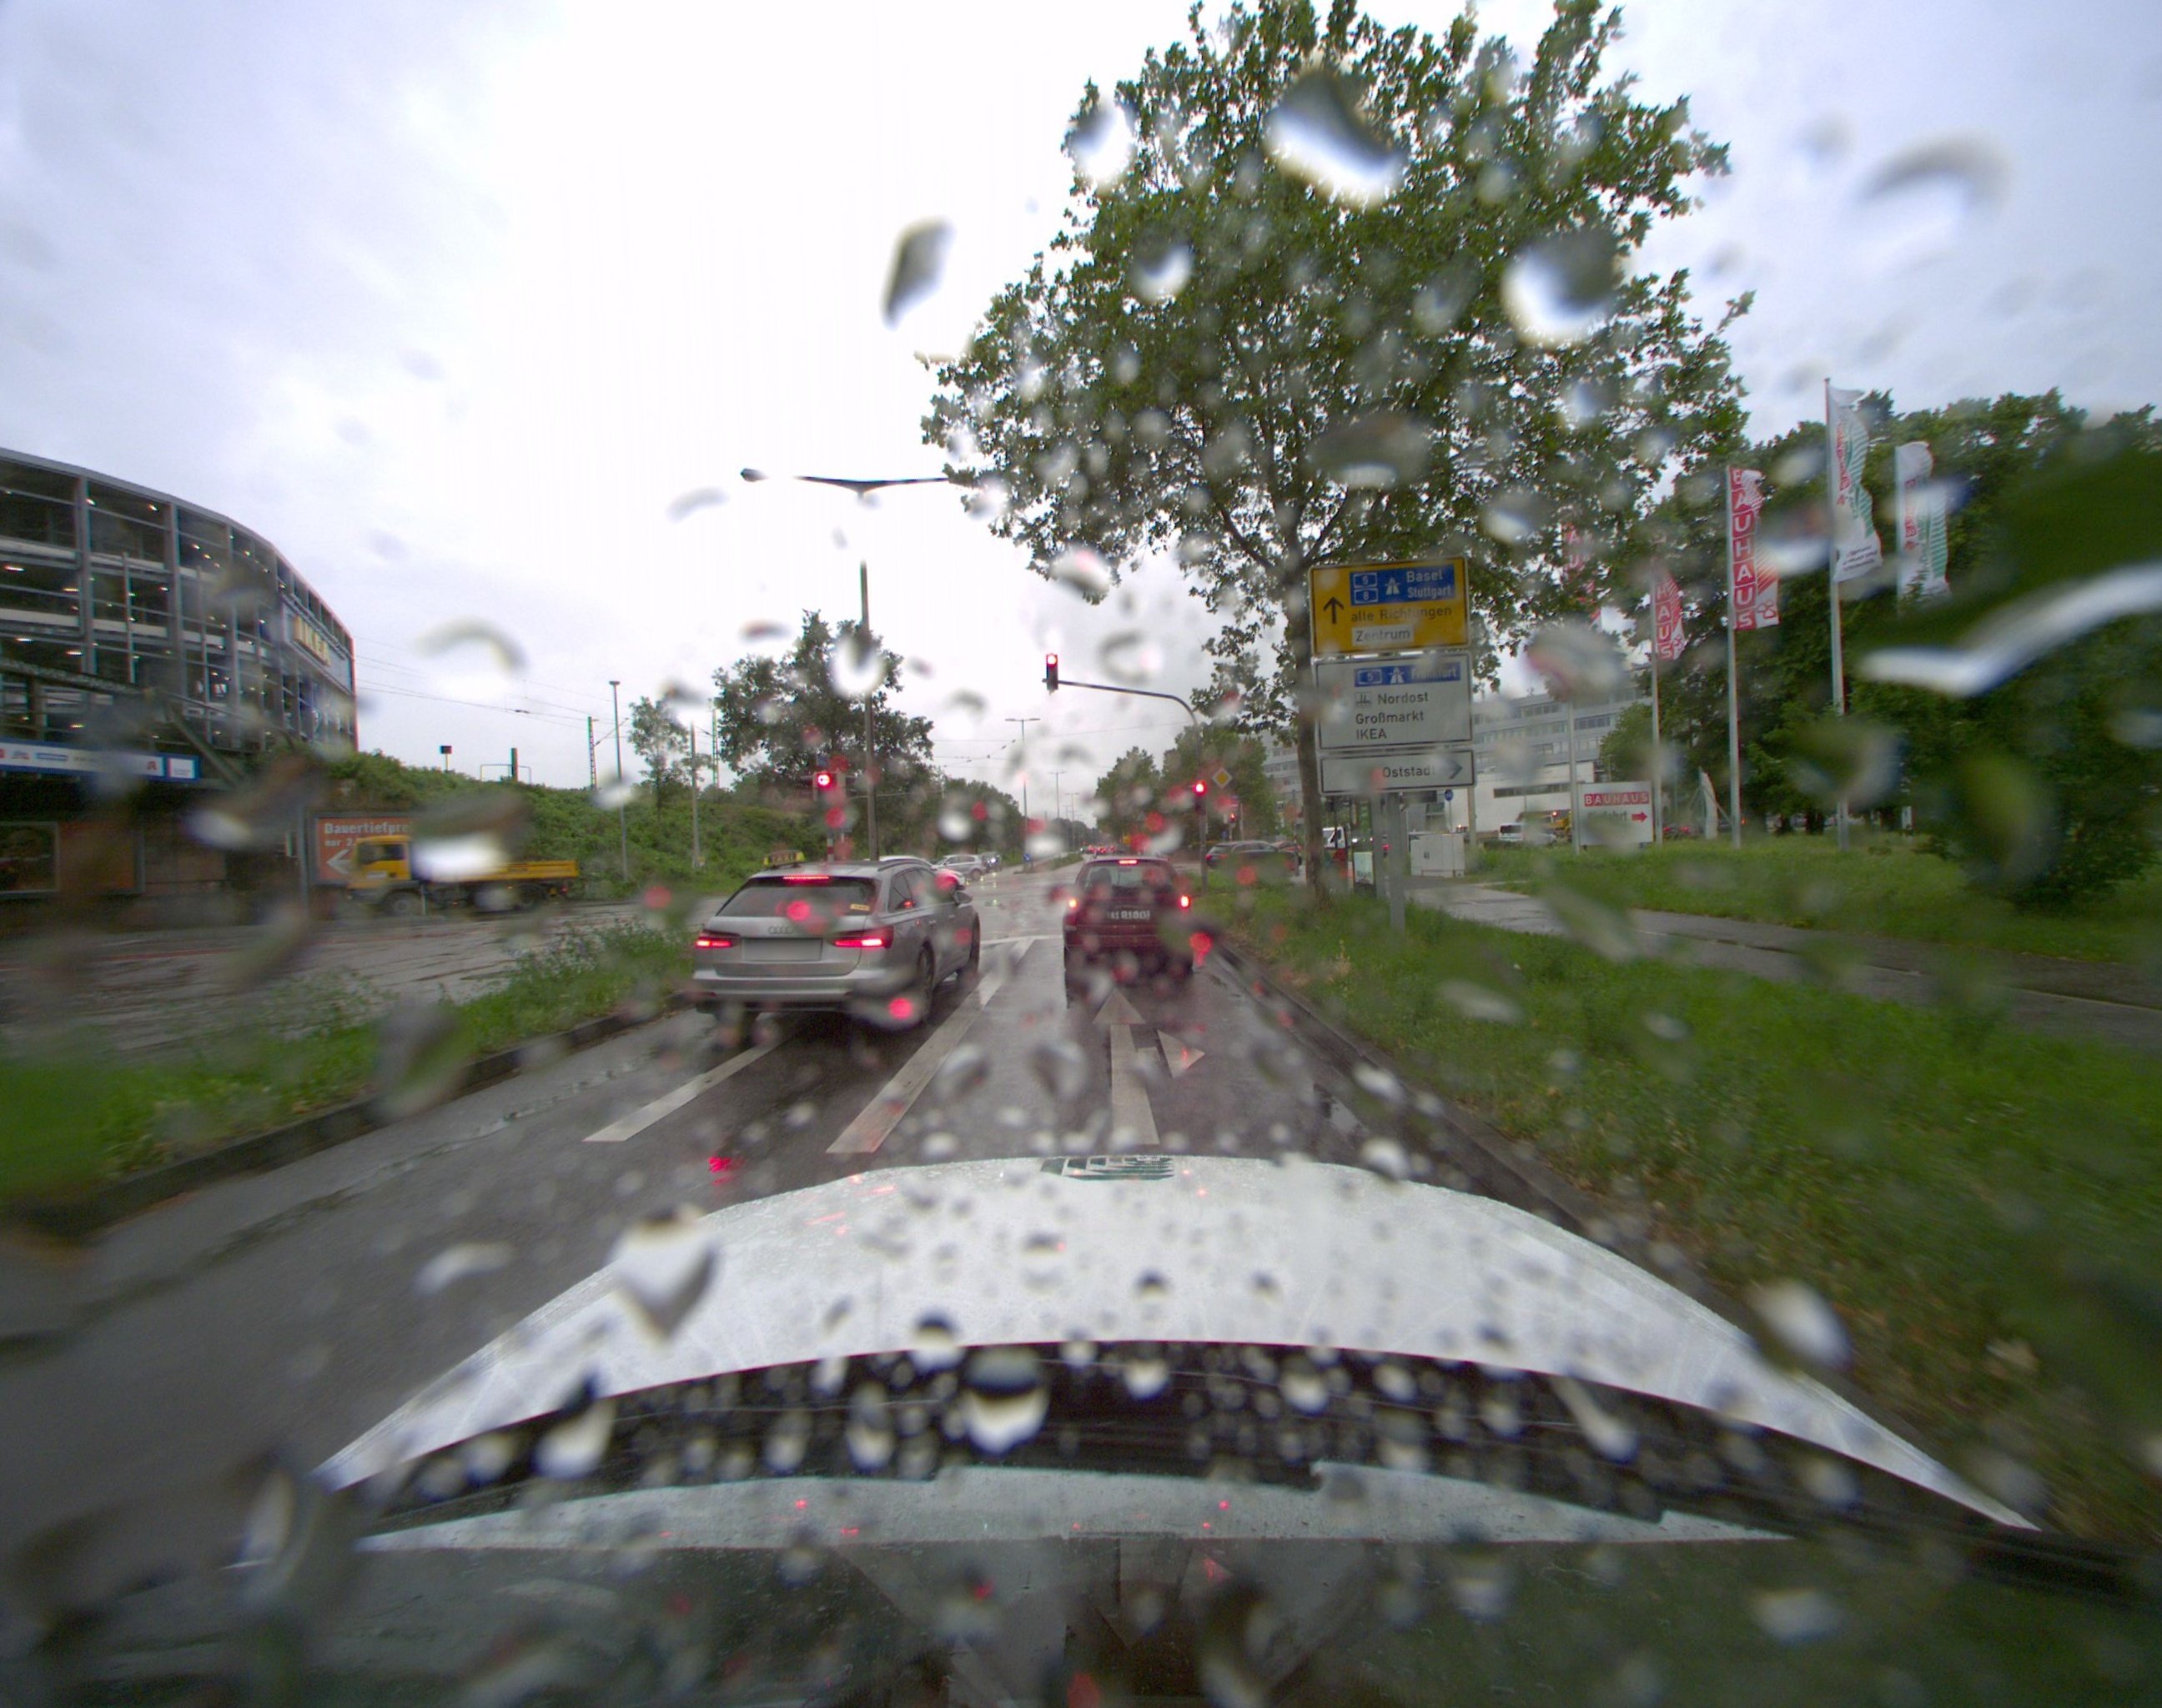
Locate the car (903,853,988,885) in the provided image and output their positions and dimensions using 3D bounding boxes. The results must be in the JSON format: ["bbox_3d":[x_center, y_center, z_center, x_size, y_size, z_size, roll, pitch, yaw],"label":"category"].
[{"bbox_3d":[-7.091,0.785,42.848,4.019,1.486,1.798,-2,0,-37],"label":"car"}]

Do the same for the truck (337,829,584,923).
[{"bbox_3d":[-23.067,0.711,30.758,7.080,3.054,2.618,-2,0,-36],"label":"truck"}]

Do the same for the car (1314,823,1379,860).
[{"bbox_3d":[18.310,-0.866,56.132,4.405,2.190,1.783,-5,1,-33],"label":"car"}]

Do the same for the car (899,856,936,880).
[{"bbox_3d":[-11.823,0.977,58.982,1.706,1.530,4.002,-2,0,2],"label":"car"}]

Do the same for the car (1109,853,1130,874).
[{"bbox_3d":[4.036,0.953,85.597,1.986,2.013,4.002,-2,0,2],"label":"car"}]

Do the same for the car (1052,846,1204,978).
[{"bbox_3d":[0.625,0.683,11.812,1.789,1.537,4.389,-1,0,2],"label":"car"}]

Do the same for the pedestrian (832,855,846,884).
[{"bbox_3d":[-14.796,0.955,49.784,0.528,1.786,0.676,-1,-1,19],"label":"pedestrian"}]

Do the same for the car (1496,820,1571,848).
[{"bbox_3d":[27.229,-1.217,49.004,4.398,1.537,1.786,-2,0,-28],"label":"car"}]

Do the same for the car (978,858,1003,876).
[{"bbox_3d":[-8.265,1.161,74.539,1.706,1.530,4.002,-2,0,2],"label":"car"}]

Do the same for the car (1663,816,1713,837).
[{"bbox_3d":[47.899,-2.169,64.236,4.405,1.537,1.783,-2,0,-34],"label":"car"}]

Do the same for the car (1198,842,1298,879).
[{"bbox_3d":[7.761,0.292,37.741,4.398,1.537,1.786,-2,0,-28],"label":"car"}]

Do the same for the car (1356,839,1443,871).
[{"bbox_3d":[16.669,0.024,42.646,4.398,1.537,1.786,-2,0,-28],"label":"car"}]

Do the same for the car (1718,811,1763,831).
[{"bbox_3d":[57.477,-2.888,70.966,4.405,1.537,1.783,-2,0,-35],"label":"car"}]

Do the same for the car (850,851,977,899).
[{"bbox_3d":[-6.102,0.739,29.694,4.077,1.521,1.980,-2,0,-32],"label":"car"}]

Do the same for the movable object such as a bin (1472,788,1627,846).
[{"bbox_3d":[58.800,-4.395,102.843,8.296,6.283,14.818,0,-1,-32],"label":"movable object such as a bin"}]

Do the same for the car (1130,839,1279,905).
[{"bbox_3d":[3.720,0.474,24.143,4.409,1.537,1.781,-5,3,-38],"label":"car"}]

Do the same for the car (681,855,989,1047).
[{"bbox_3d":[-2.165,0.752,8.574,1.684,1.433,4.576,-1,0,2],"label":"car"}]
